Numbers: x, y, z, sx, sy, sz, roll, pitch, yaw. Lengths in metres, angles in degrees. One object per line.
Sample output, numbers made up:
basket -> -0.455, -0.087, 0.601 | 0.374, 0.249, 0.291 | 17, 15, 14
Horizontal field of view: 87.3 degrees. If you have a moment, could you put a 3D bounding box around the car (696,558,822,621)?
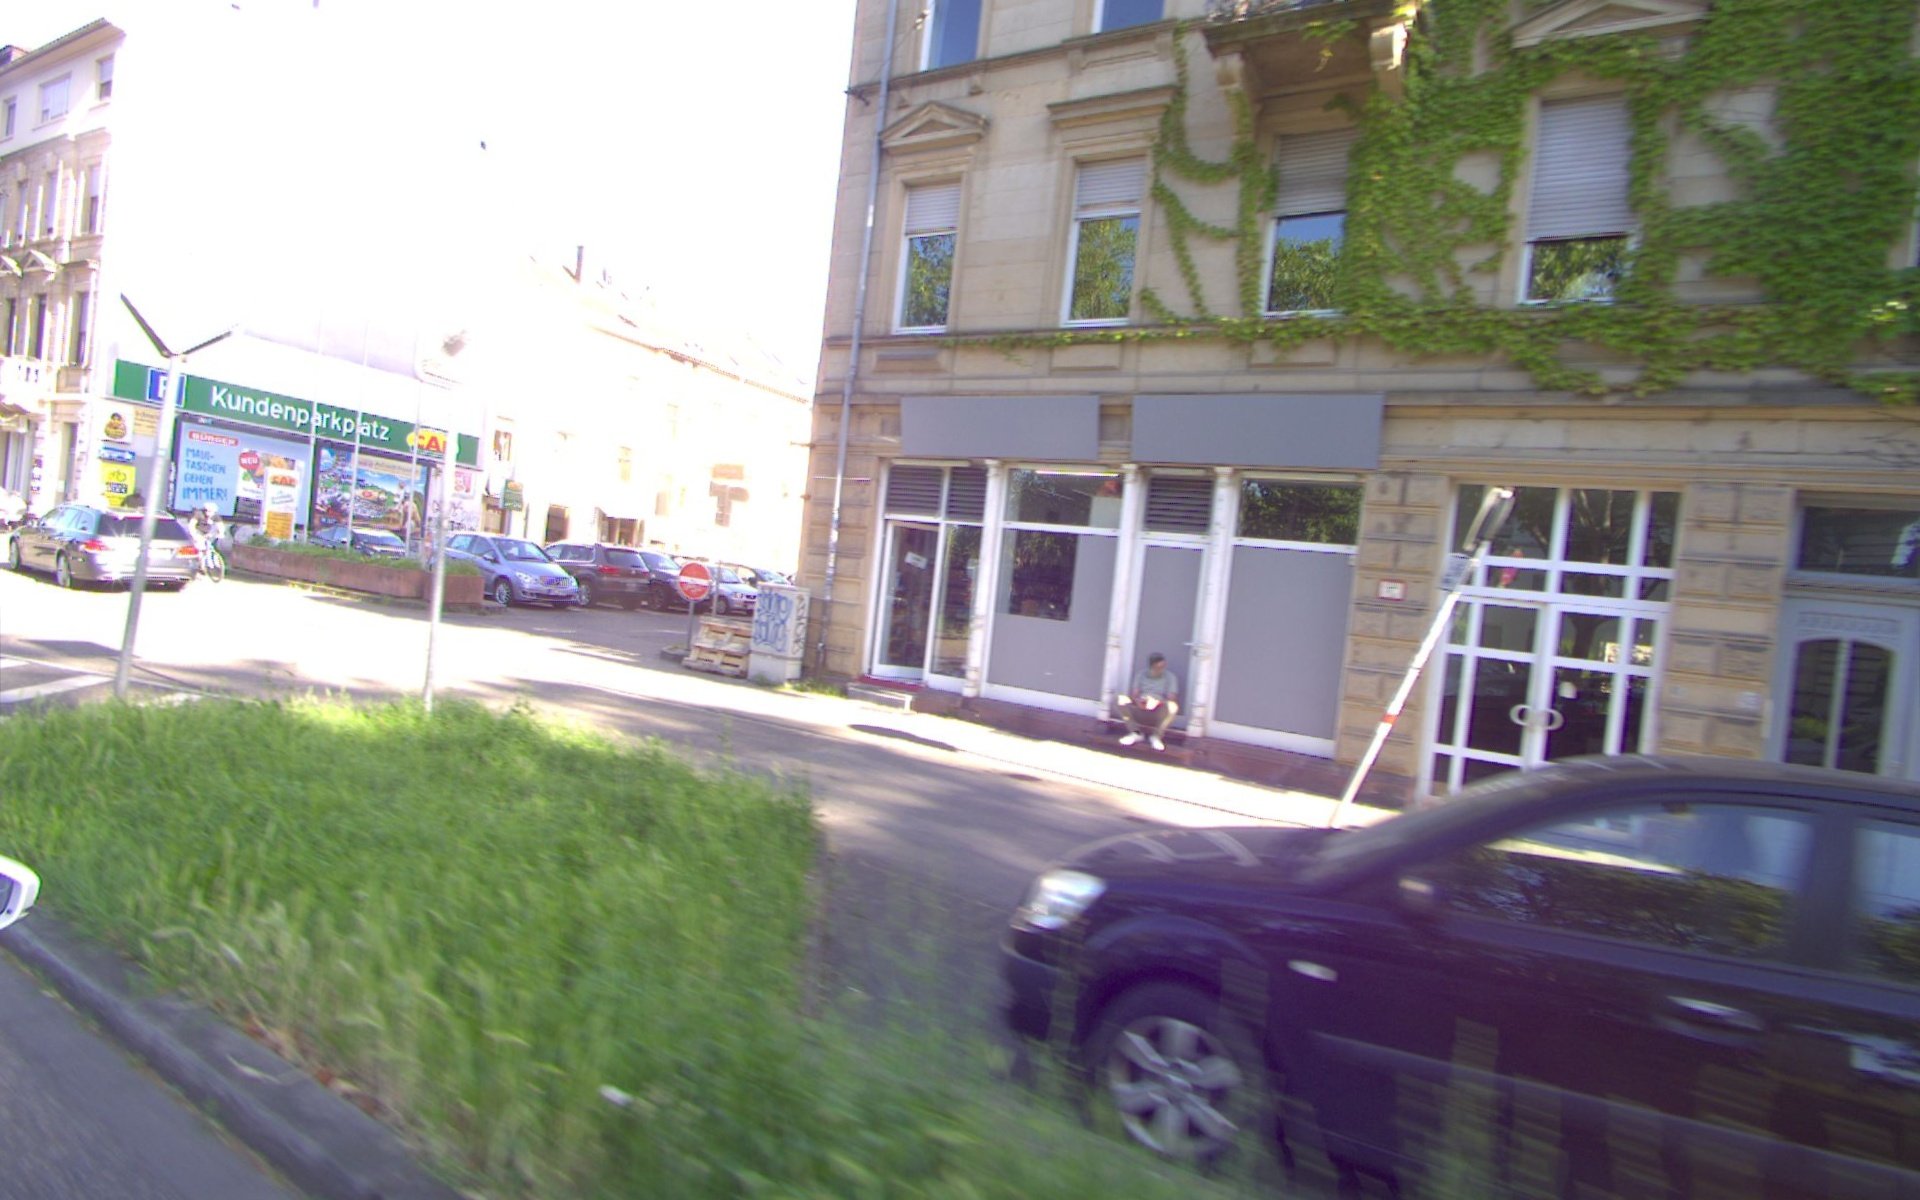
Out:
car -> -6.607, -0.358, 32.974 | 3.872, 1.564, 1.543 | 7, 1, 30

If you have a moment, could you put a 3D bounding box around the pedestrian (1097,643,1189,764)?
pedestrian -> 2.142, 1.192, 11.744 | 0.701, 1.276, 0.716 | 7, 1, 31

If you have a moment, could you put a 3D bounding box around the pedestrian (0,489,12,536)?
pedestrian -> -27.787, -2.545, 28.741 | 0.598, 1.298, 0.798 | 7, 1, 30

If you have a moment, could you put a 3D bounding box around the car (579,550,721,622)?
car -> -8.865, -0.409, 28.713 | 3.871, 1.564, 1.543 | 7, 1, 30

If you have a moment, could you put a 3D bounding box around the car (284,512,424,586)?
car -> -15.938, -1.337, 26.455 | 3.336, 1.504, 1.561 | 7, 1, 28

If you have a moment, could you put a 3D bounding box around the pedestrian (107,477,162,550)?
pedestrian -> -22.899, -2.386, 27.925 | 0.734, 1.865, 0.762 | 7, 1, 11

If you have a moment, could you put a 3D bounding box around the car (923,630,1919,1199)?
car -> 2.063, 1.157, 3.151 | 3.932, 1.535, 1.645 | 7, -2, 30

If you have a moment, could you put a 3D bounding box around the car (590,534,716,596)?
car -> -10.987, -1.256, 35.905 | 4.309, 1.687, 1.756 | 7, 1, 31

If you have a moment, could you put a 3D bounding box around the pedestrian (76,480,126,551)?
pedestrian -> -22.947, -2.246, 26.882 | 0.503, 1.778, 0.762 | 7, 1, 11

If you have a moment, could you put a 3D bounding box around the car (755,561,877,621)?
car -> -5.034, -0.329, 35.040 | 3.871, 1.601, 1.658 | 7, 1, 30

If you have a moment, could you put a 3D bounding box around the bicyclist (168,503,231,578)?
bicyclist -> -16.224, -1.268, 21.459 | 1.162, 1.466, 0.676 | 7, 5, 32

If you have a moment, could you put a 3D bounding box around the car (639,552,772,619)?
car -> -7.821, -0.455, 30.873 | 3.872, 1.564, 1.543 | 7, 1, 30

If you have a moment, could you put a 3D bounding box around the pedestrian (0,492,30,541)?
pedestrian -> -27.167, -2.402, 28.549 | 0.644, 1.298, 0.902 | 7, 2, 27

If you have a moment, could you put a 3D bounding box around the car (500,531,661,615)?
car -> -10.079, -0.724, 26.695 | 3.931, 1.714, 1.747 | 7, 1, 29

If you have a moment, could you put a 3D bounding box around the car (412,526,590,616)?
car -> -11.019, -0.698, 24.129 | 3.930, 1.665, 1.748 | 7, 1, 28

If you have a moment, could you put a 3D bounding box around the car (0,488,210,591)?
car -> -16.504, -1.184, 19.307 | 4.656, 1.507, 1.832 | 7, 3, 32

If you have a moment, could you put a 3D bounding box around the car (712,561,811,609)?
car -> -8.559, -0.653, 43.304 | 3.933, 1.538, 1.723 | 7, 1, 31

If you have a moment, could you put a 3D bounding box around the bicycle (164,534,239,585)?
bicycle -> -16.251, -0.872, 21.548 | 1.886, 0.933, 0.649 | 7, 5, 32
